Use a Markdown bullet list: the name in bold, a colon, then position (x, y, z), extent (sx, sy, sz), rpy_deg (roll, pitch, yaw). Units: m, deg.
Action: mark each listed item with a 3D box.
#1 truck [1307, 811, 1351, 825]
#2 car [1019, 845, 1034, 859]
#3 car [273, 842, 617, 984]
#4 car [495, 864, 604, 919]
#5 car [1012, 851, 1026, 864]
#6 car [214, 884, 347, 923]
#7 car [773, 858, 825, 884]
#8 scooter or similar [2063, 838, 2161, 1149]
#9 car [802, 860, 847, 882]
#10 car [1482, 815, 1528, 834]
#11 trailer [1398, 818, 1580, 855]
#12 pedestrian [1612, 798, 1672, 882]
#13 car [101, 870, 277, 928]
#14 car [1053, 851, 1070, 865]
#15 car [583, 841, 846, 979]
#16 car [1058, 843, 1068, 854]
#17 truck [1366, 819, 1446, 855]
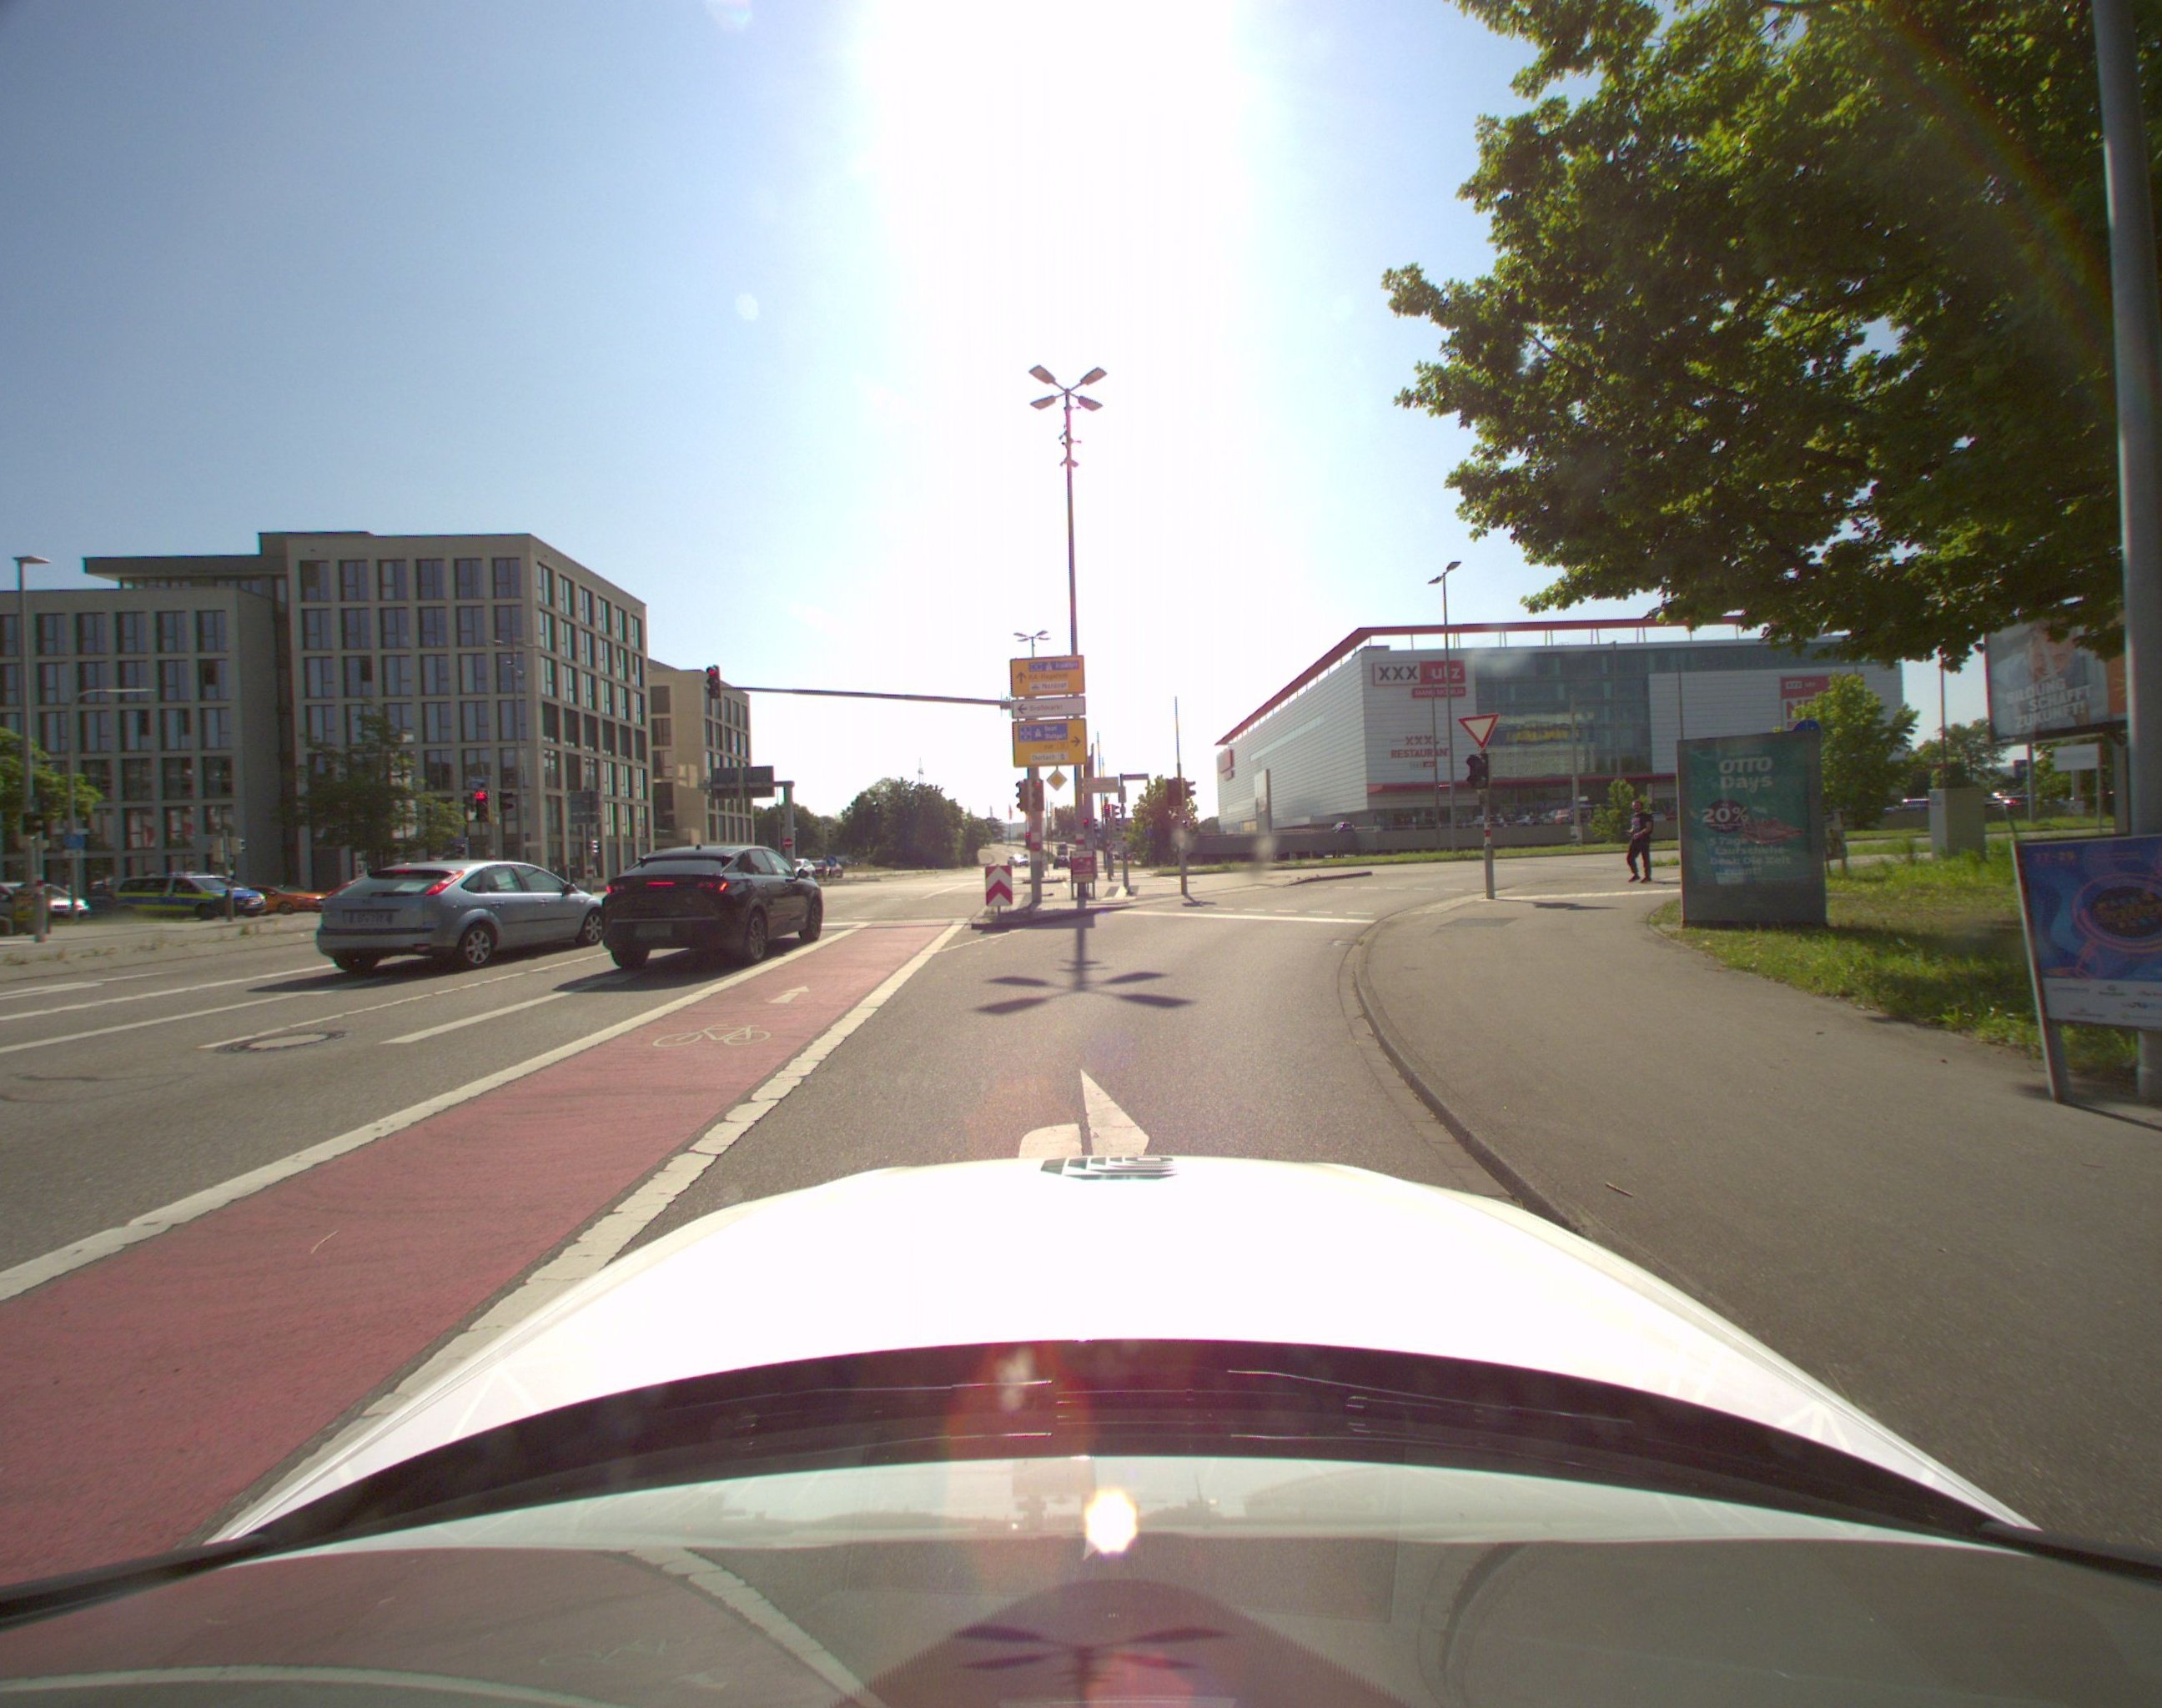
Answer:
- **truck**: position (36.404, -5.327, 119.609), extent (5.890, 2.013, 2.000), rpy_deg (0, 1, 0)
- **car**: position (-8.143, -0.280, 121.631), extent (1.988, 2.013, 3.979), rpy_deg (0, 1, -1)
- **car**: position (-9.147, 0.731, 12.266), extent (1.988, 1.684, 3.998), rpy_deg (-3, 0, -1)
- **car**: position (-14.876, 1.016, 22.929), extent (1.211, 1.331, 2.799), rpy_deg (0, 1, 0)
- **car**: position (-8.577, 0.462, 112.731), extent (1.756, 1.793, 3.343), rpy_deg (-3, 0, -3)
- **car**: position (-36.382, 2.214, 37.083), extent (3.975, 1.464, 2.000), rpy_deg (-3, 0, -1)
- **car**: position (-18.617, 1.097, 53.878), extent (1.808, 1.464, 4.003), rpy_deg (-3, 0, 3)
- **scooter or similar**: position (4.419, 0.564, 2.932), extent (0.349, 1.233, 1.315), rpy_deg (-3, 0, 12)
- **car**: position (-18.983, 1.232, 60.510), extent (1.808, 1.464, 4.003), rpy_deg (-3, 0, 3)
- **car**: position (46.384, -3.238, 89.135), extent (3.978, 2.013, 1.998), rpy_deg (0, 1, -4)
- **trailer**: position (28.730, -1.235, 57.538), extent (11.829, 2.469, 2.001), rpy_deg (0, 1, 1)
- **pedestrian**: position (12.370, -0.305, 17.968), extent (0.627, 1.770, 0.802), rpy_deg (-3, 0, -12)
- **car**: position (-36.834, 1.833, 33.731), extent (4.899, 2.050, 1.999), rpy_deg (-3, 0, -1)
- **car**: position (-2.124, 0.414, 90.063), extent (1.683, 1.359, 4.000), rpy_deg (0, 2, 0)
- **car**: position (-5.230, 0.676, 12.422), extent (1.800, 1.640, 4.461), rpy_deg (-3, 0, 2)
- **car**: position (-3.782, -1.173, 169.701), extent (1.987, 2.321, 4.000), rpy_deg (0, 1, 0)
- **truck**: position (22.951, -1.206, 57.580), extent (4.864, 2.423, 2.001), rpy_deg (0, 1, 0)
